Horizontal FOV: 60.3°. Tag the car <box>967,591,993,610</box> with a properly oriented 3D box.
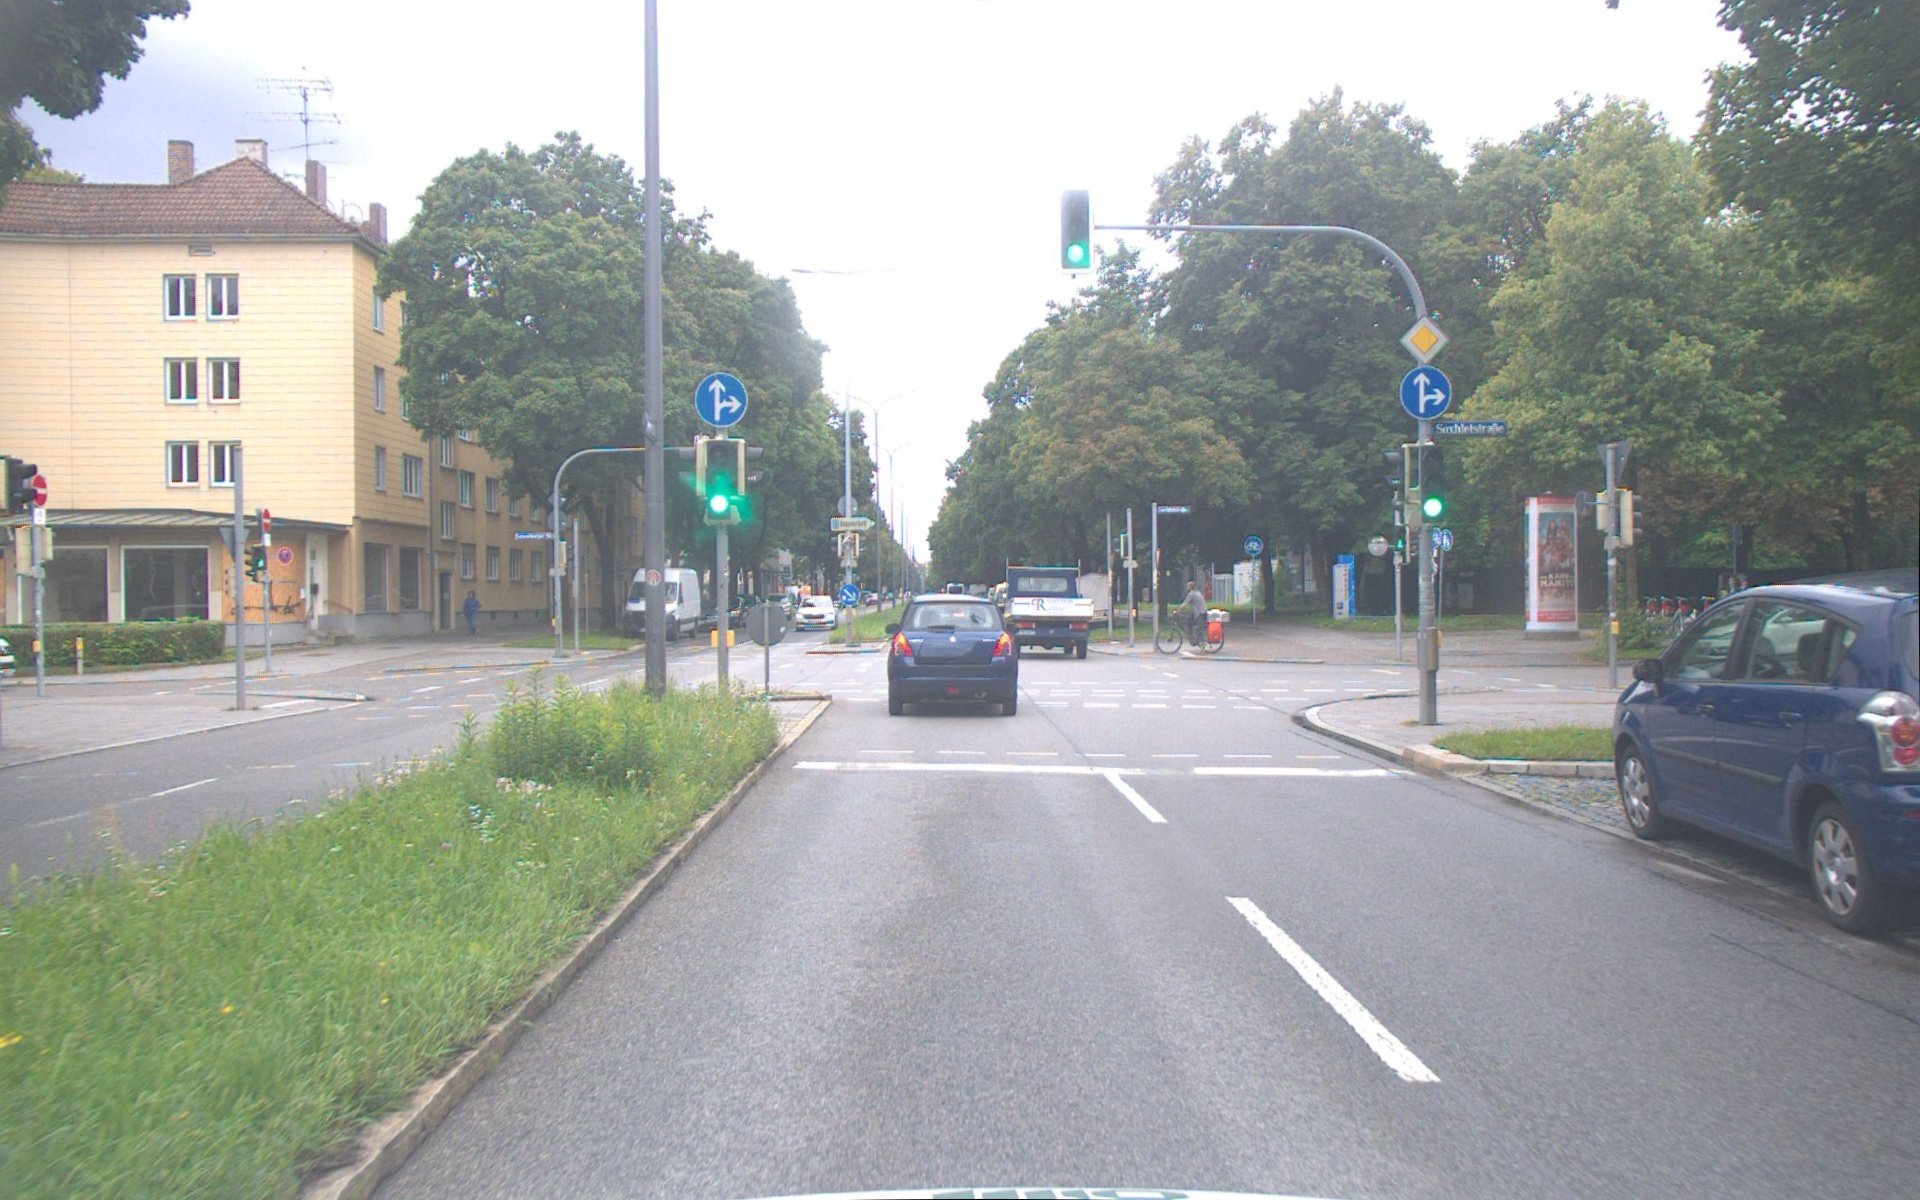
[{"bbox_3d":[1.575,0.016,133.110,1.751,1.525,3.657,0,0,-4],"label":"car"}]

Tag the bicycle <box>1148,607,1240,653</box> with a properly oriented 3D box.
[{"bbox_3d":[6.034,0.768,42.789,2.250,1.133,0.996,0,0,0],"label":"bicycle"}]

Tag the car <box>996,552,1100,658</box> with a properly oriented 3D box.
[{"bbox_3d":[2.133,0.110,41.537,2.369,2.487,5.087,0,0,0],"label":"car"}]

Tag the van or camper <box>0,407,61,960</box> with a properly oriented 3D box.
[{"bbox_3d":[-4.905,0.383,4.286,1.982,2.300,6.019,-1,0,-2],"label":"van or camper"}]

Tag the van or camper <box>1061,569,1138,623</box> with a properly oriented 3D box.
[{"bbox_3d":[4.941,-0.144,59.131,2.083,1.825,4.504,0,0,-4],"label":"van or camper"}]

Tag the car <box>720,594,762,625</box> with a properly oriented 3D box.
[{"bbox_3d":[-10.934,0.439,82.616,1.603,1.467,3.734,-1,0,-1],"label":"car"}]

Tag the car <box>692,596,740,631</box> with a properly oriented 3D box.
[{"bbox_3d":[-10.845,0.590,73.755,1.603,1.467,3.734,-1,0,-1],"label":"car"}]

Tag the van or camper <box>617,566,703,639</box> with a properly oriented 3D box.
[{"bbox_3d":[-11.167,0.068,62.064,2.096,2.519,6.258,-1,0,-1],"label":"van or camper"}]

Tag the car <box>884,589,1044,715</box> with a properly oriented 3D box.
[{"bbox_3d":[-0.037,0.626,22.043,1.859,1.525,3.657,0,0,-4],"label":"car"}]

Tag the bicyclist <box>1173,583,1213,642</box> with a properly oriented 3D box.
[{"bbox_3d":[6.024,0.307,42.788,0.911,1.505,0.990,0,0,0],"label":"bicyclist"}]

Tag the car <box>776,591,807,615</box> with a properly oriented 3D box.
[{"bbox_3d":[-10.993,0.177,108.055,1.603,1.467,3.734,-1,0,-1],"label":"car"}]

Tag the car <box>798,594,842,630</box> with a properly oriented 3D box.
[{"bbox_3d":[-5.985,0.494,70.996,1.603,1.467,3.734,-1,0,-1],"label":"car"}]

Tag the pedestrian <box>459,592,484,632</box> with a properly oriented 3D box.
[{"bbox_3d":[-18.106,0.450,61.279,0.616,1.465,0.806,1,0,2],"label":"pedestrian"}]

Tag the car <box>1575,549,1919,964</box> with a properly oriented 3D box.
[{"bbox_3d":[5.024,0.620,9.155,1.726,1.686,4.285,-5,0,3],"label":"car"}]

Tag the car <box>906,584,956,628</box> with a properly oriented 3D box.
[{"bbox_3d":[-1.081,0.209,60.758,1.762,1.525,3.659,-1,0,-1],"label":"car"}]
